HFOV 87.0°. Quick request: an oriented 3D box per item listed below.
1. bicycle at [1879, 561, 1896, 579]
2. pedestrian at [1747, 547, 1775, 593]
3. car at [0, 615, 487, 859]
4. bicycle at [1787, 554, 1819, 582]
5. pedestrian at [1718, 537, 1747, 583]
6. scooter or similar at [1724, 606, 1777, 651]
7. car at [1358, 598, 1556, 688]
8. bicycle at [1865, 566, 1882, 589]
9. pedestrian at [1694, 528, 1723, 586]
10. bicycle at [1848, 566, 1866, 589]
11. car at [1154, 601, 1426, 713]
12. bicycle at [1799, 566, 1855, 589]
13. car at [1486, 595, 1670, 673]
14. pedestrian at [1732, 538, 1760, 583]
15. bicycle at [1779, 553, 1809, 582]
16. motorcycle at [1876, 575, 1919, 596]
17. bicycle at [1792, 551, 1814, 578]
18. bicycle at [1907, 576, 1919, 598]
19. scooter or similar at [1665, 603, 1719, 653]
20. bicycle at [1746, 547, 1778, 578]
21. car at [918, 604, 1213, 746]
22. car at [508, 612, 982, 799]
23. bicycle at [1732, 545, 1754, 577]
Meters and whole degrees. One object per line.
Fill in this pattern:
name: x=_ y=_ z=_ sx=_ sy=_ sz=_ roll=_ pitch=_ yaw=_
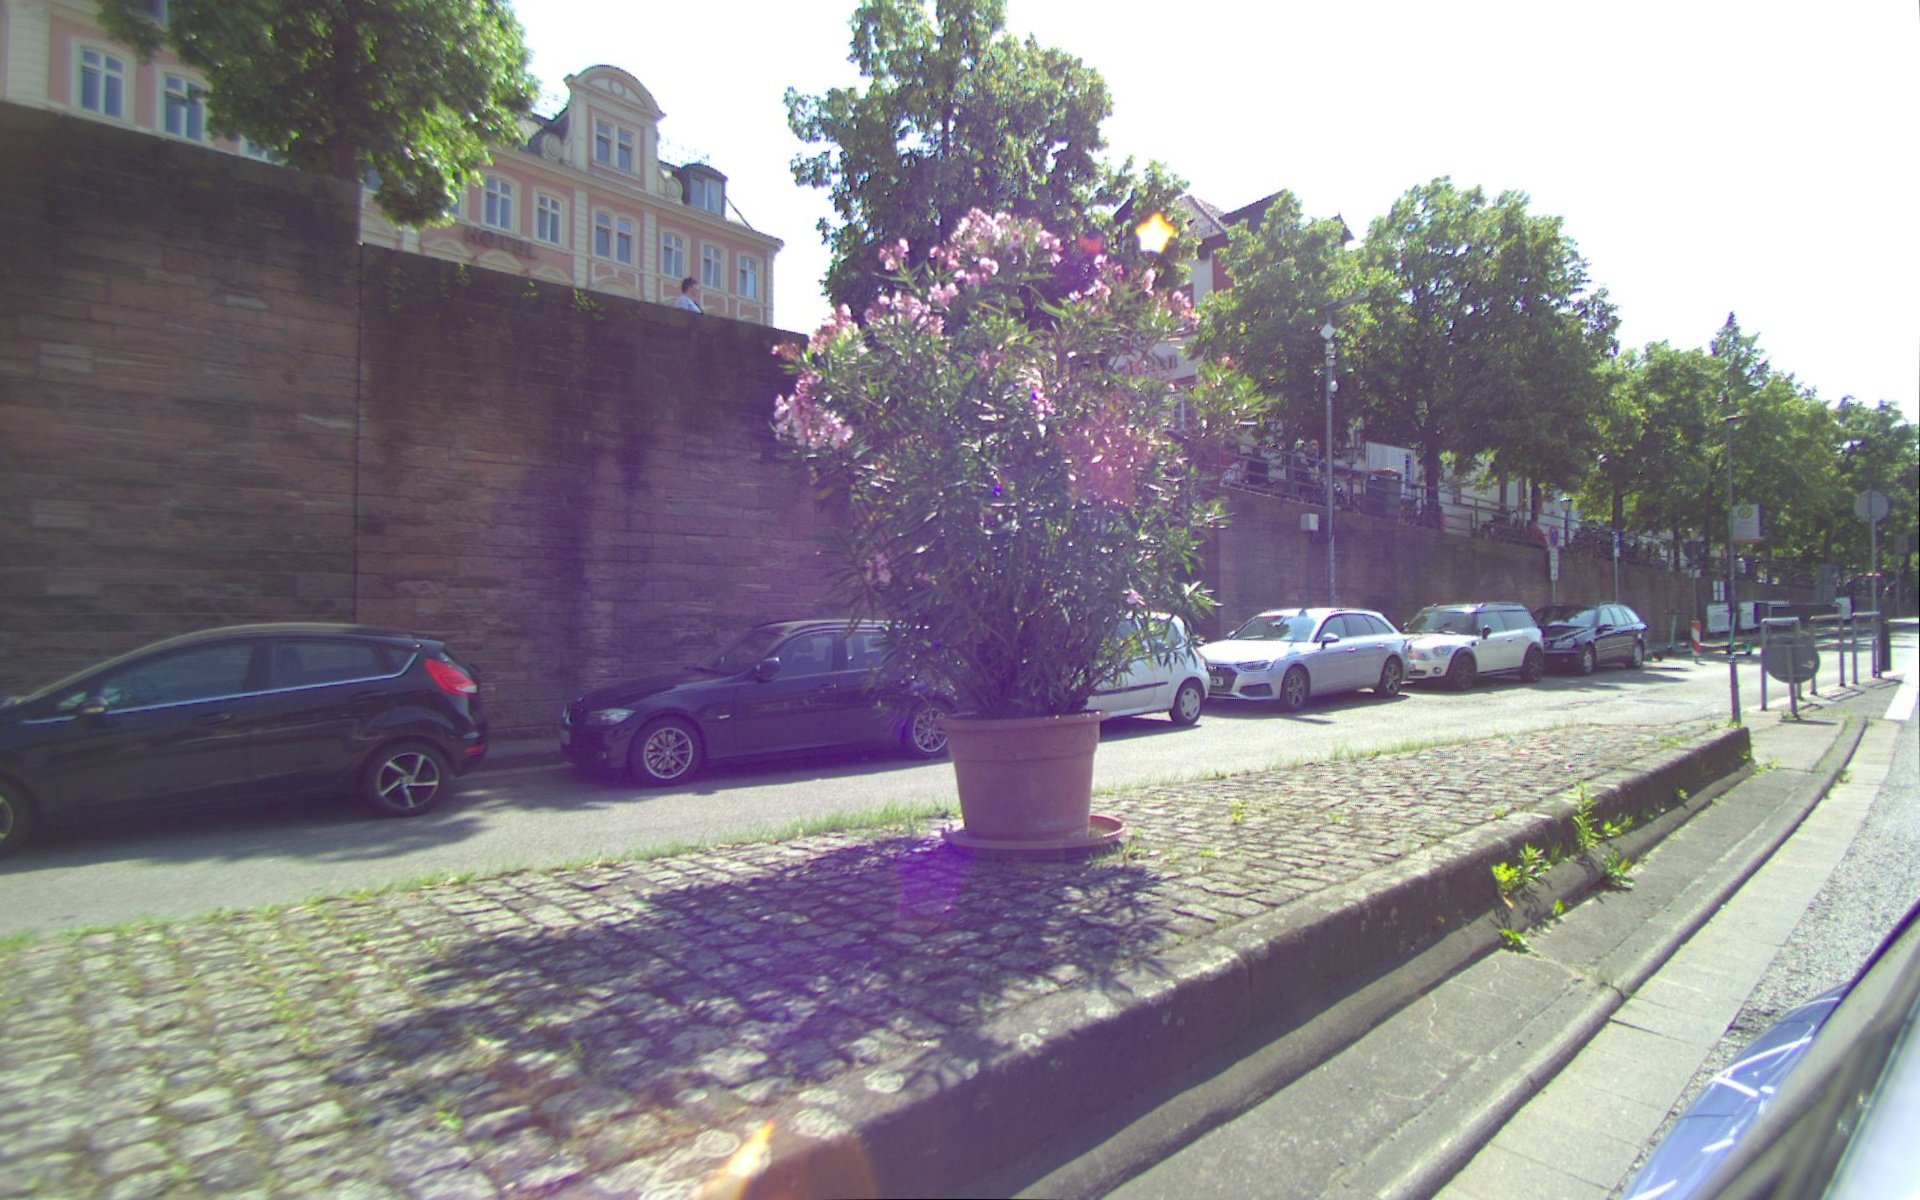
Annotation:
bicycle: x=44.776 y=-1.441 z=48.841 sx=1.885 sy=0.794 sz=0.350 roll=0 pitch=-1 yaw=-40
pedestrian: x=31.135 y=-1.159 z=39.355 sx=0.562 sy=1.742 sz=0.720 roll=0 pitch=-1 yaw=-37
car: x=-5.667 y=0.897 z=7.620 sx=3.644 sy=1.503 sz=1.500 roll=0 pitch=-1 yaw=-34
bicycle: x=34.162 y=-1.295 z=41.005 sx=1.886 sy=1.120 sz=0.411 roll=0 pitch=0 yaw=-33
pedestrian: x=29.818 y=-1.540 z=39.076 sx=0.698 sy=1.742 sz=0.720 roll=0 pitch=-1 yaw=-37
scooter or similar: x=19.971 y=0.708 z=25.571 sx=1.410 sy=1.103 sz=0.534 roll=-1 pitch=0 yaw=-28
car: x=9.118 y=0.720 z=18.473 sx=3.830 sy=1.431 sz=1.616 roll=-1 pitch=-1 yaw=-36
bicycle: x=42.122 y=-1.027 z=46.665 sx=1.906 sy=1.017 sz=0.298 roll=1 pitch=-1 yaw=-39
pedestrian: x=29.166 y=-1.674 z=39.414 sx=0.698 sy=2.217 sz=0.720 roll=0 pitch=-1 yaw=-37
bicycle: x=40.353 y=-1.009 z=45.527 sx=1.826 sy=1.017 sz=0.298 roll=1 pitch=-1 yaw=-39
car: x=5.254 y=0.790 z=15.809 sx=4.670 sy=1.451 sz=1.757 roll=-1 pitch=-1 yaw=-39
bicycle: x=38.758 y=-0.994 z=45.251 sx=0.293 sy=1.017 sz=1.857 roll=1 pitch=-1 yaw=-39
car: x=13.209 y=0.659 z=21.525 sx=4.451 sy=1.468 sz=1.847 roll=-1 pitch=-1 yaw=-38
pedestrian: x=30.463 y=-1.519 z=39.229 sx=0.562 sy=1.742 sz=0.720 roll=0 pitch=-1 yaw=-37
bicycle: x=32.900 y=-1.282 z=39.920 sx=1.701 sy=1.120 sz=0.411 roll=0 pitch=0 yaw=-33
motorcycle: x=50.454 y=-0.759 z=54.279 sx=0.565 sy=1.112 sz=1.916 roll=0 pitch=1 yaw=-44
bicycle: x=37.067 y=-1.545 z=44.484 sx=1.899 sy=1.155 sz=0.382 roll=1 pitch=-1 yaw=-39
bicycle: x=49.473 y=-0.665 z=52.315 sx=1.882 sy=1.126 sz=0.345 roll=0 pitch=0 yaw=-34
scooter or similar: x=18.739 y=0.706 z=25.905 sx=1.245 sy=1.246 sz=0.534 roll=-1 pitch=0 yaw=-24
bicycle: x=29.666 y=-1.370 z=37.440 sx=1.701 sy=1.120 sz=0.411 roll=0 pitch=0 yaw=-33
car: x=1.380 y=0.825 z=12.636 sx=3.484 sy=1.476 sz=1.714 roll=-1 pitch=-1 yaw=-40
car: x=-2.047 y=0.880 z=10.119 sx=4.321 sy=1.406 sz=1.717 roll=-1 pitch=1 yaw=-33
bicycle: x=28.092 y=-1.388 z=36.305 sx=0.410 sy=1.120 sz=1.706 roll=-1 pitch=0 yaw=45
